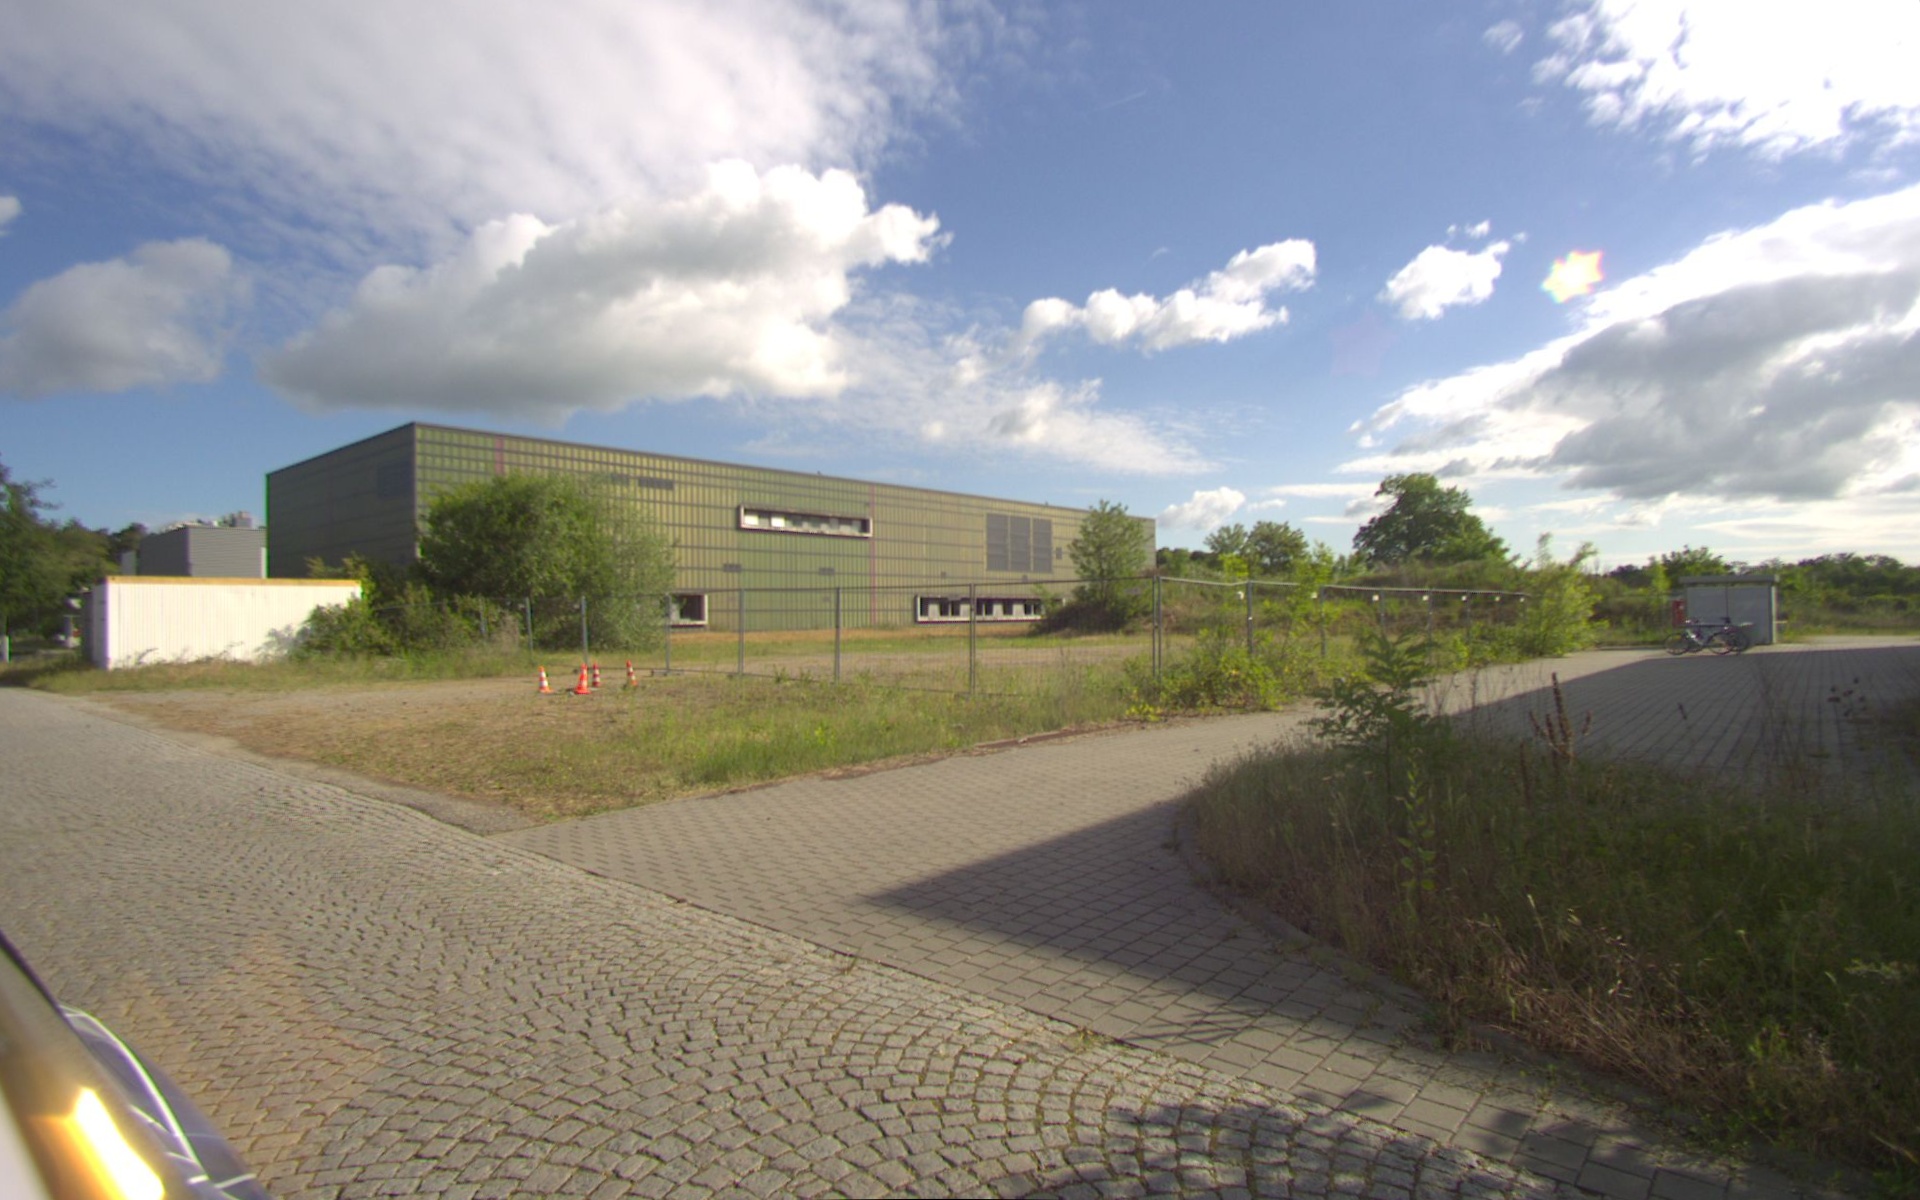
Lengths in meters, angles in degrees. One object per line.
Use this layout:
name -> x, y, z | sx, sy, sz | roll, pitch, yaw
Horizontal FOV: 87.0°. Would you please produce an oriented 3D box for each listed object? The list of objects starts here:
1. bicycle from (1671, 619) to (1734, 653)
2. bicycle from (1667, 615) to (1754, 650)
bicycle -> 21.392, 1.043, 29.165 | 1.357, 0.906, 0.511 | -5, -4, 44
bicycle -> 22.830, 1.003, 30.811 | 1.968, 0.976, 0.830 | -5, -4, 44
